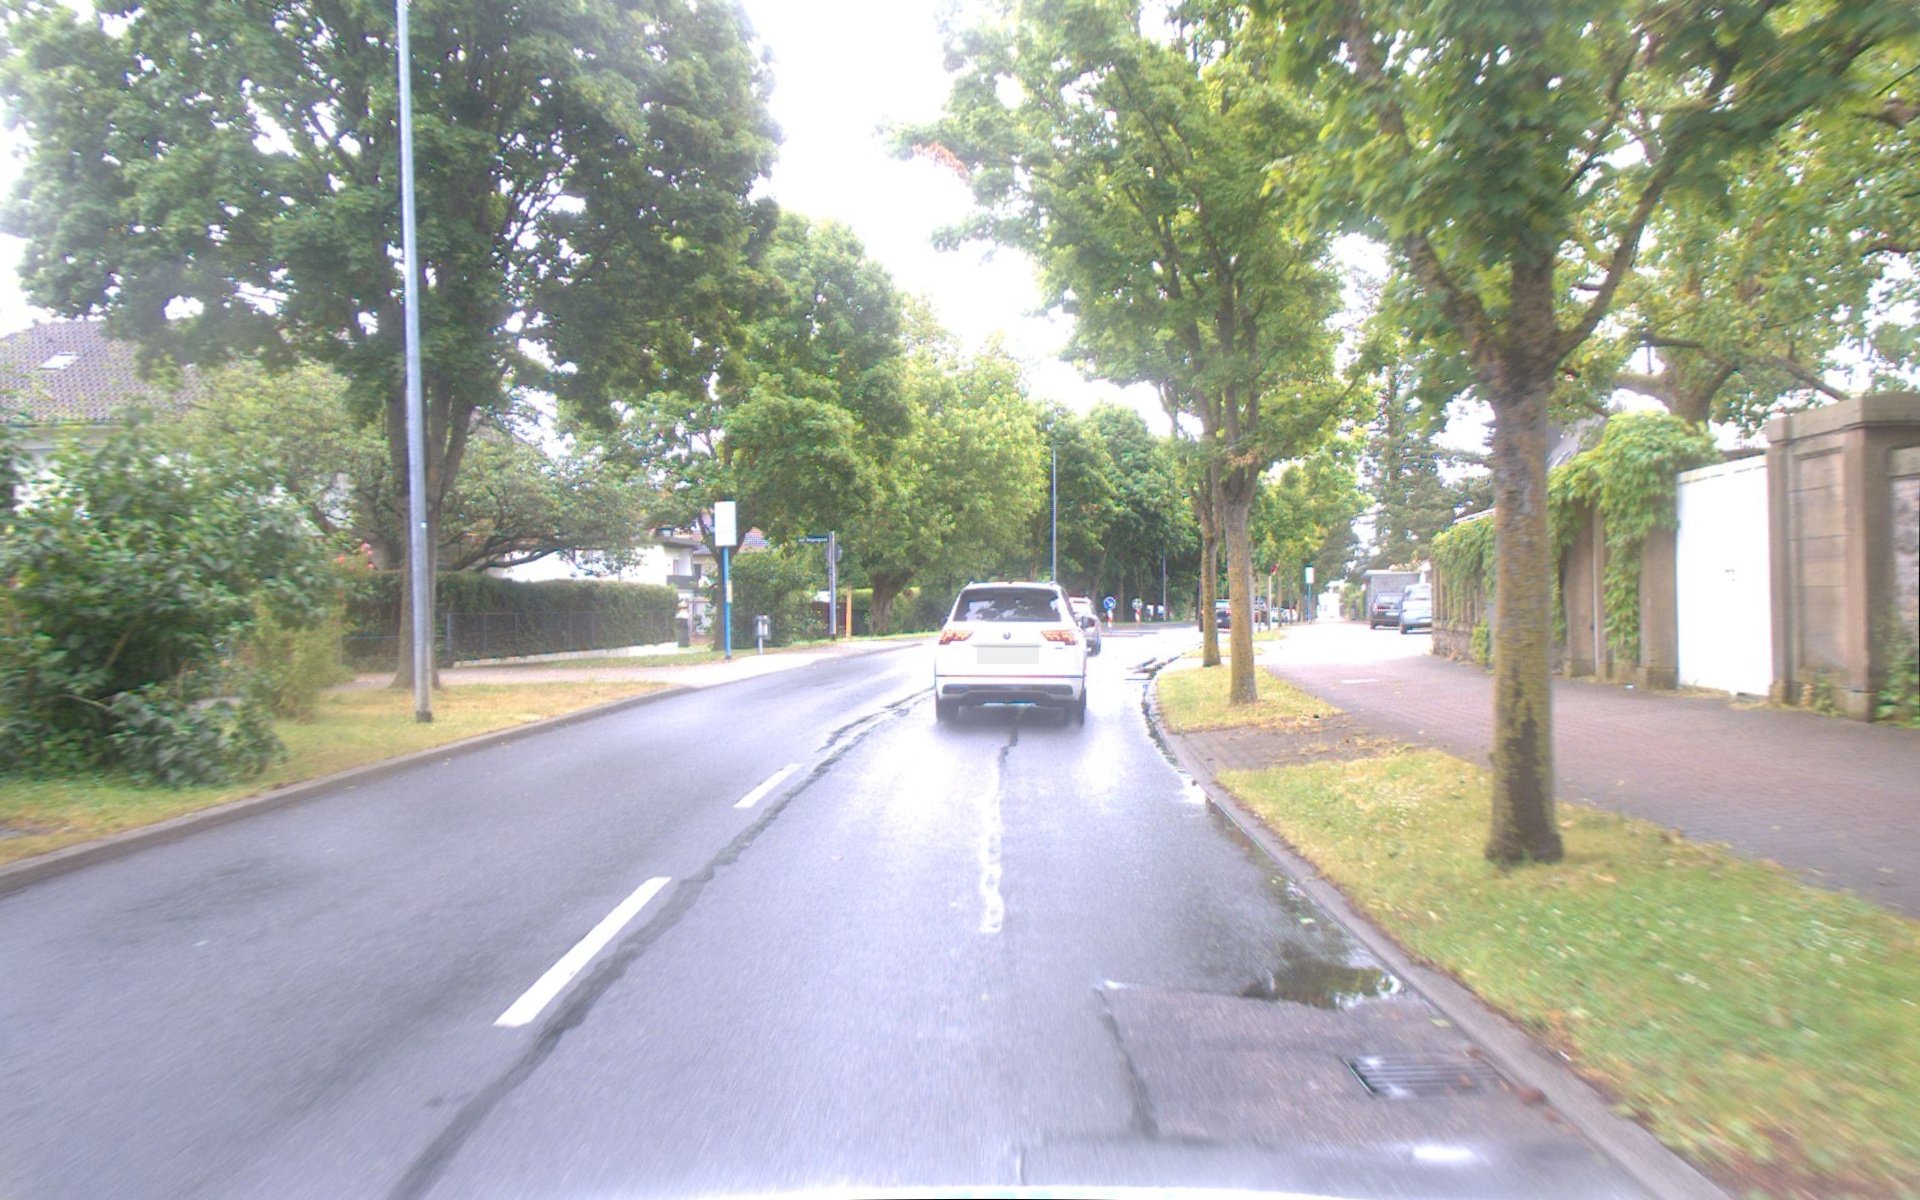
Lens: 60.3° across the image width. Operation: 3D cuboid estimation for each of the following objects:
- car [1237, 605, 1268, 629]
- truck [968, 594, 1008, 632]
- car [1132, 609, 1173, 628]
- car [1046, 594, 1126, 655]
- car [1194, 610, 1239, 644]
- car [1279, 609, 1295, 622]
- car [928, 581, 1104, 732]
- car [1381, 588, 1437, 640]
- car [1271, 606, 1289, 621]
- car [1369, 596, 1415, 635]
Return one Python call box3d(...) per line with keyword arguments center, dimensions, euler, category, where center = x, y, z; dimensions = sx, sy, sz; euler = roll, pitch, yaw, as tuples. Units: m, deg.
box3d(center=(19.561, 1.166, 110.854), dimensions=(1.801, 1.513, 4.003), euler=(-2, -1, 7), category="car")
box3d(center=(2.058, 0.958, 118.970), dimensions=(2.236, 2.642, 5.878), euler=(-1, -1, 7), category="truck")
box3d(center=(16.061, 1.573, 138.153), dimensions=(1.815, 1.508, 3.974), euler=(-1, -1, -21), category="car")
box3d(center=(3.430, 0.650, 44.481), dimensions=(1.801, 1.513, 4.003), euler=(-2, -1, 9), category="car")
box3d(center=(11.991, 1.235, 77.133), dimensions=(1.801, 1.513, 4.003), euler=(2, 0, 13), category="car")
box3d(center=(35.412, 1.678, 179.125), dimensions=(1.602, 1.349, 4.003), euler=(1, 0, 11), category="car")
box3d(center=(0.736, 0.638, 20.737), dimensions=(1.955, 1.660, 4.001), euler=(1, 0, 3), category="car")
box3d(center=(15.228, 0.473, 56.183), dimensions=(1.706, 1.639, 4.003), euler=(-2, -1, 14), category="car")
box3d(center=(29.914, 1.279, 154.806), dimensions=(1.602, 1.349, 4.003), euler=(1, 0, 11), category="car")
box3d(center=(17.862, 0.632, 68.541), dimensions=(1.733, 1.524, 4.547), euler=(-2, -1, 14), category="car")
